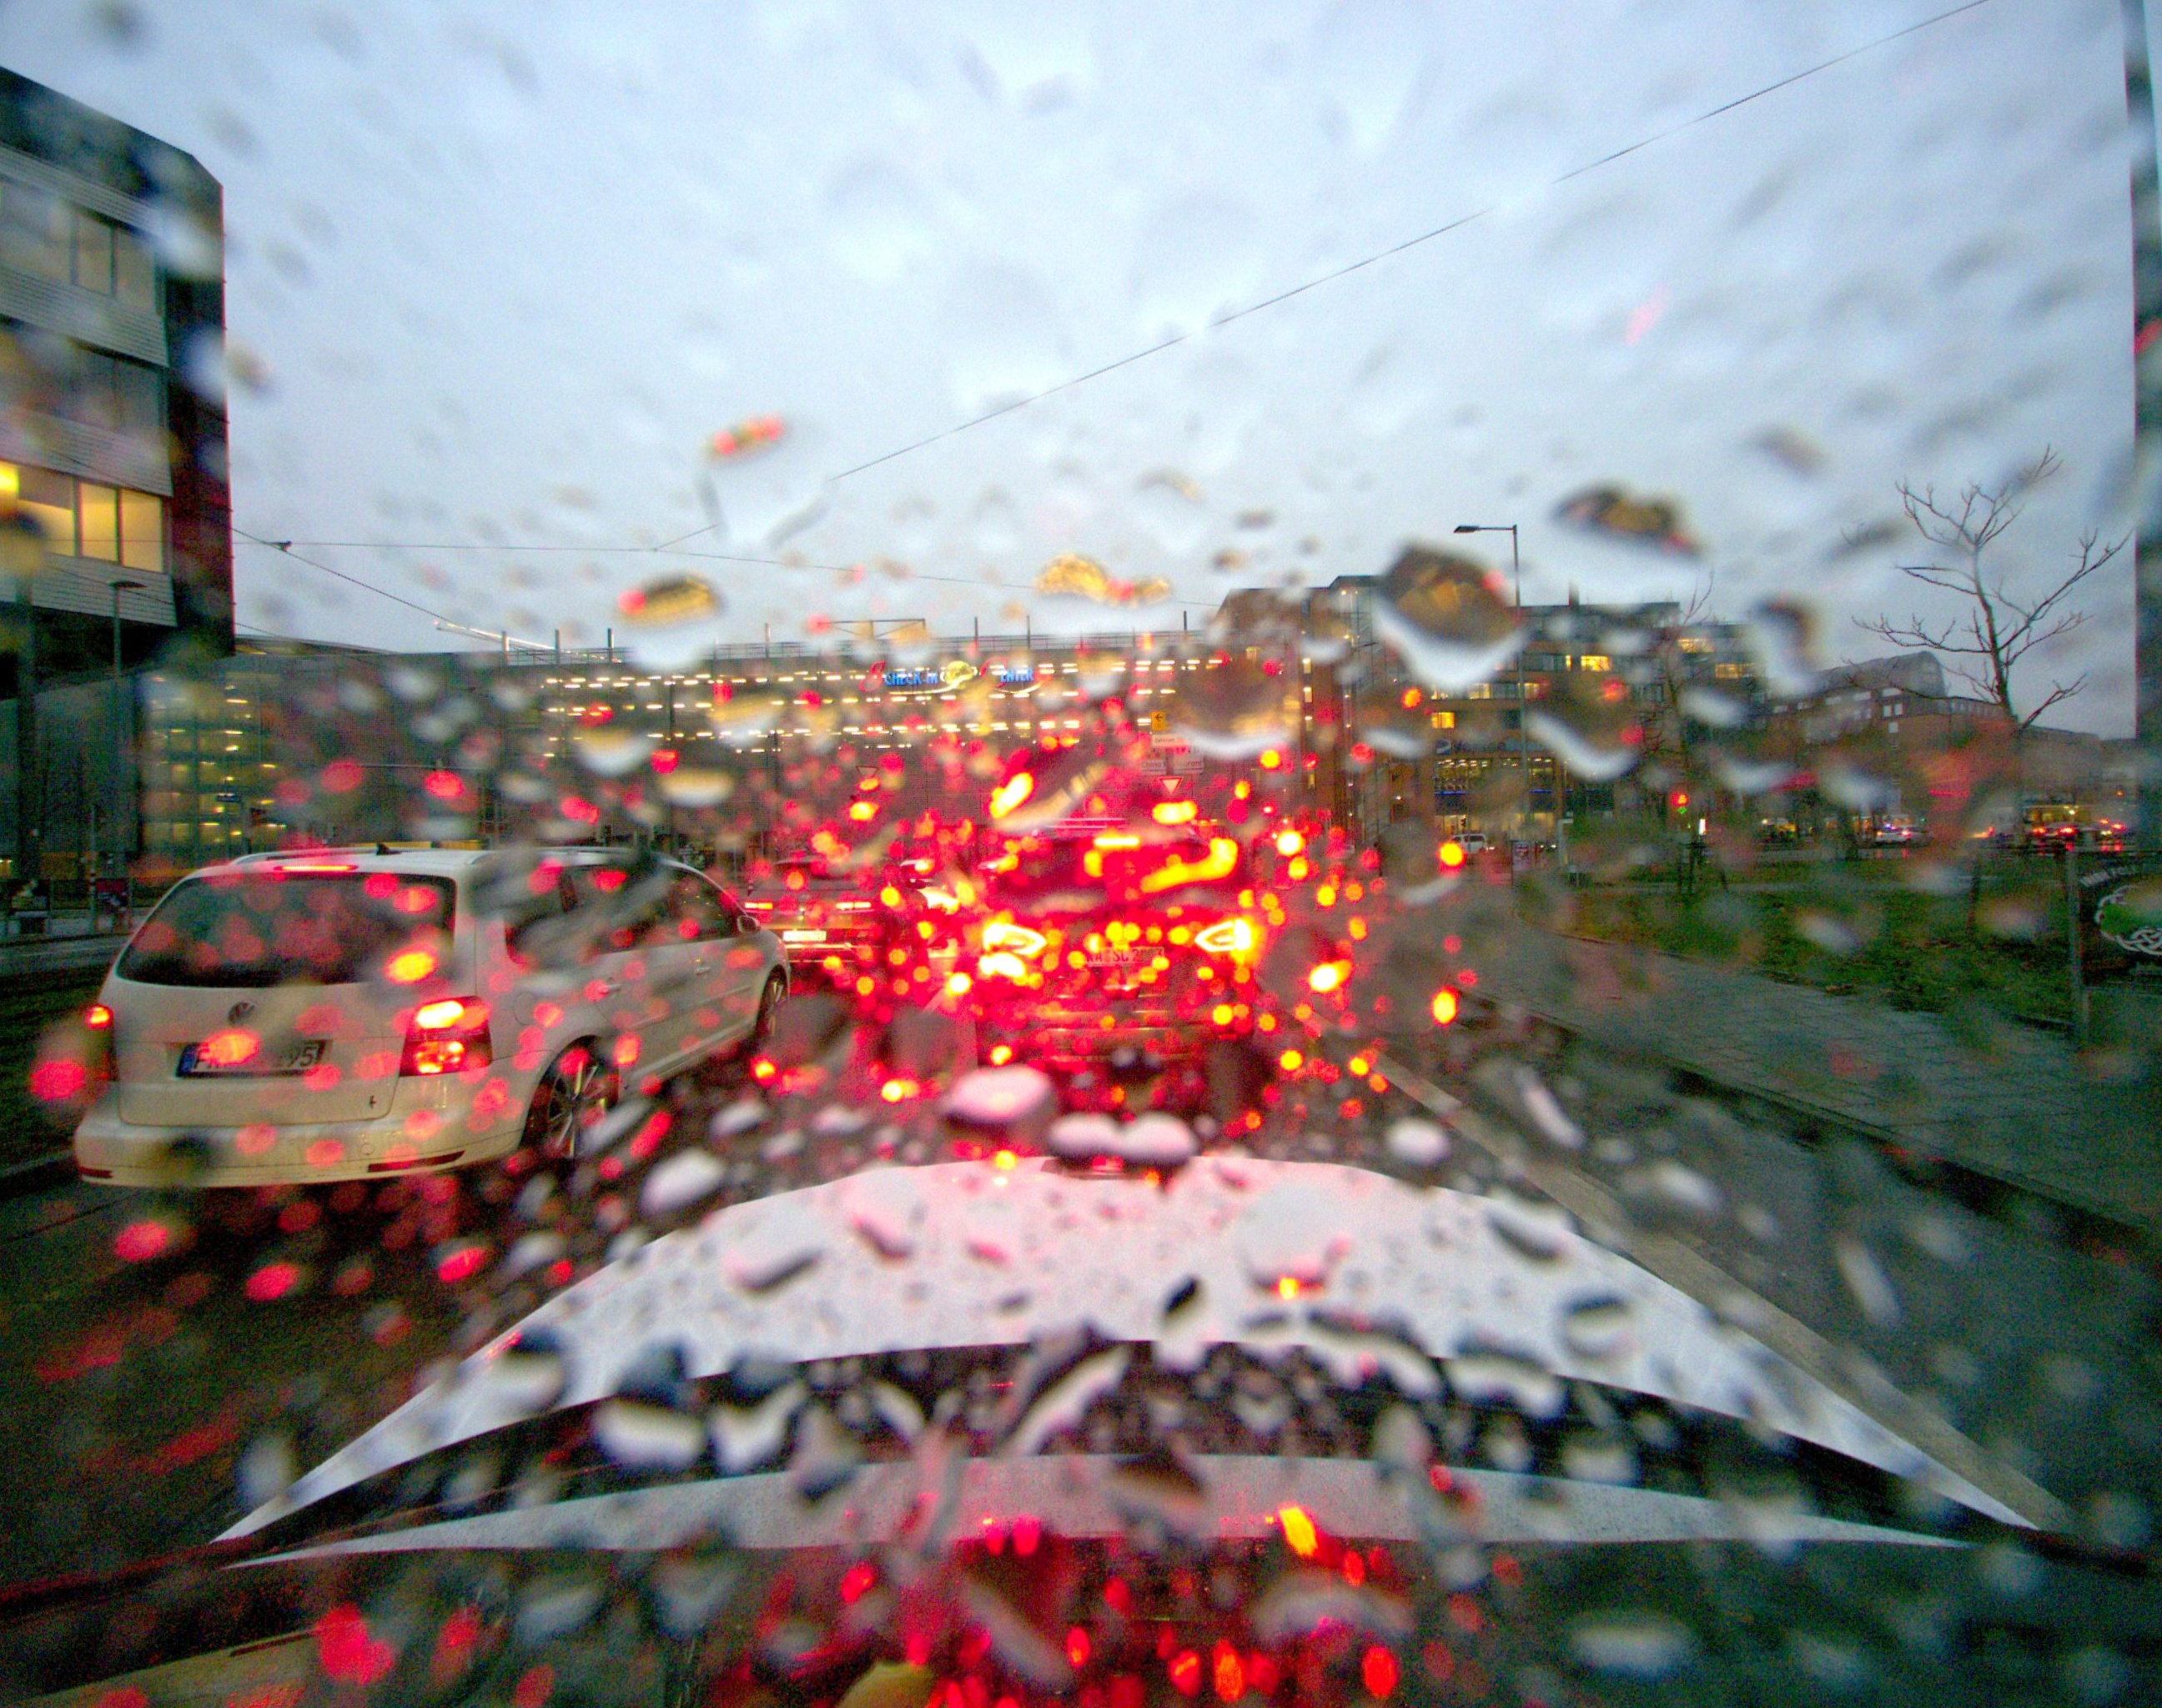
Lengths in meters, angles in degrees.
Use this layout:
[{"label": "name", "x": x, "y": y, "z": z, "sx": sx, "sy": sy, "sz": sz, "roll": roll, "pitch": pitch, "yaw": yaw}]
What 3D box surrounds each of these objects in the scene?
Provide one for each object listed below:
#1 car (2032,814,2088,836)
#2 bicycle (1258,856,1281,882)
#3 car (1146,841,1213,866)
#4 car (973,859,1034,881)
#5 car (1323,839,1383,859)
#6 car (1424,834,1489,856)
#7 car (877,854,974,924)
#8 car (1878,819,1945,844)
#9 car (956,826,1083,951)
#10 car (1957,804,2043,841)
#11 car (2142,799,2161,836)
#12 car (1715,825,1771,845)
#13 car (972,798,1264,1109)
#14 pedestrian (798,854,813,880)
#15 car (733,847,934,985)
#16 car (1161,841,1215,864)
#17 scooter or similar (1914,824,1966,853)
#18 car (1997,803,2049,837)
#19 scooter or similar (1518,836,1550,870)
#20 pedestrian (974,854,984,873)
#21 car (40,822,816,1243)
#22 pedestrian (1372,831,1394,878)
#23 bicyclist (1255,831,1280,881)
[{"label": "car", "x": 71.446, "y": -2.099, "z": 59.417, "sx": 3.470, "sy": 1.520, "sz": 1.513, "roll": -1, "pitch": 0, "yaw": -19}, {"label": "bicycle", "x": 7.350, "y": 0.570, "z": 31.783, "sx": 0.651, "sy": 0.973, "sz": 1.870, "roll": -2, "pitch": 0, "yaw": 8}, {"label": "car", "x": 7.851, "y": -0.039, "z": 64.957, "sx": 4.942, "sy": 1.871, "sz": 1.900, "roll": -2, "pitch": 0, "yaw": -7}, {"label": "car", "x": -5.399, "y": 1.122, "z": 57.243, "sx": 1.624, "sy": 1.386, "sz": 4.505, "roll": -2, "pitch": 0, "yaw": 36}, {"label": "car", "x": 22.247, "y": -0.372, "z": 66.699, "sx": 4.320, "sy": 1.486, "sz": 1.863, "roll": -2, "pitch": 0, "yaw": -5}, {"label": "car", "x": 31.233, "y": -0.758, "z": 67.805, "sx": 4.634, "sy": 1.677, "sz": 1.781, "roll": -2, "pitch": 0, "yaw": -8}, {"label": "car", "x": -3.588, "y": 0.758, "z": 19.460, "sx": 1.754, "sy": 1.463, "sz": 3.912, "roll": -1, "pitch": 0, "yaw": -4}, {"label": "car", "x": 56.431, "y": -1.534, "z": 55.322, "sx": 3.681, "sy": 1.496, "sz": 1.635, "roll": -2, "pitch": 0, "yaw": -17}, {"label": "car", "x": -1.011, "y": 0.499, "z": 14.338, "sx": 1.839, "sy": 1.806, "sz": 4.482, "roll": -2, "pitch": 0, "yaw": -3}, {"label": "car", "x": 64.898, "y": -2.223, "z": 57.521, "sx": 5.975, "sy": 2.427, "sz": 1.986, "roll": -2, "pitch": 0, "yaw": -20}, {"label": "car", "x": 87.520, "y": -2.959, "z": 64.467, "sx": 6.356, "sy": 2.827, "sz": 2.348, "roll": -1, "pitch": 0, "yaw": -19}, {"label": "car", "x": 60.972, "y": -1.776, "z": 75.039, "sx": 4.610, "sy": 1.719, "sz": 1.917, "roll": -2, "pitch": 0, "yaw": -20}, {"label": "car", "x": 0.264, "y": 0.562, "z": 6.671, "sx": 1.668, "sy": 1.779, "sz": 4.001, "roll": 0, "pitch": 0, "yaw": 1}, {"label": "pedestrian", "x": -26.693, "y": 1.247, "z": 78.953, "sx": 1.106, "sy": 2.439, "sz": 0.966, "roll": 0, "pitch": -1, "yaw": 1}, {"label": "car", "x": -3.316, "y": 0.726, "z": 11.823, "sx": 1.817, "sy": 1.570, "sz": 4.355, "roll": -2, "pitch": 0, "yaw": -4}, {"label": "car", "x": 9.369, "y": -0.123, "z": 71.456, "sx": 4.351, "sy": 1.871, "sz": 1.902, "roll": -2, "pitch": 0, "yaw": -5}, {"label": "scooter or similar", "x": 36.418, "y": -0.657, "z": 34.549, "sx": 1.548, "sy": 1.227, "sz": 0.669, "roll": 0, "pitch": -1, "yaw": -4}, {"label": "car", "x": 82.686, "y": -2.973, "z": 71.473, "sx": 6.386, "sy": 2.827, "sz": 2.337, "roll": -2, "pitch": 0, "yaw": -35}, {"label": "scooter or similar", "x": 16.958, "y": -0.043, "z": 30.481, "sx": 1.312, "sy": 1.206, "sz": 0.331, "roll": -2, "pitch": 0, "yaw": -27}, {"label": "pedestrian", "x": -9.751, "y": 0.883, "z": 77.999, "sx": 0.786, "sy": 1.787, "sz": 0.732, "roll": -2, "pitch": 0, "yaw": -3}, {"label": "car", "x": -3.259, "y": 0.694, "z": 5.332, "sx": 1.666, "sy": 1.599, "sz": 4.221, "roll": -2, "pitch": 0, "yaw": -1}, {"label": "pedestrian", "x": 12.321, "y": 0.033, "z": 33.232, "sx": 0.766, "sy": 1.877, "sz": 0.639, "roll": -2, "pitch": 0, "yaw": 24}, {"label": "bicyclist", "x": 7.260, "y": 0.092, "z": 31.726, "sx": 0.786, "sy": 1.890, "sz": 0.991, "roll": -2, "pitch": 0, "yaw": 7}]
